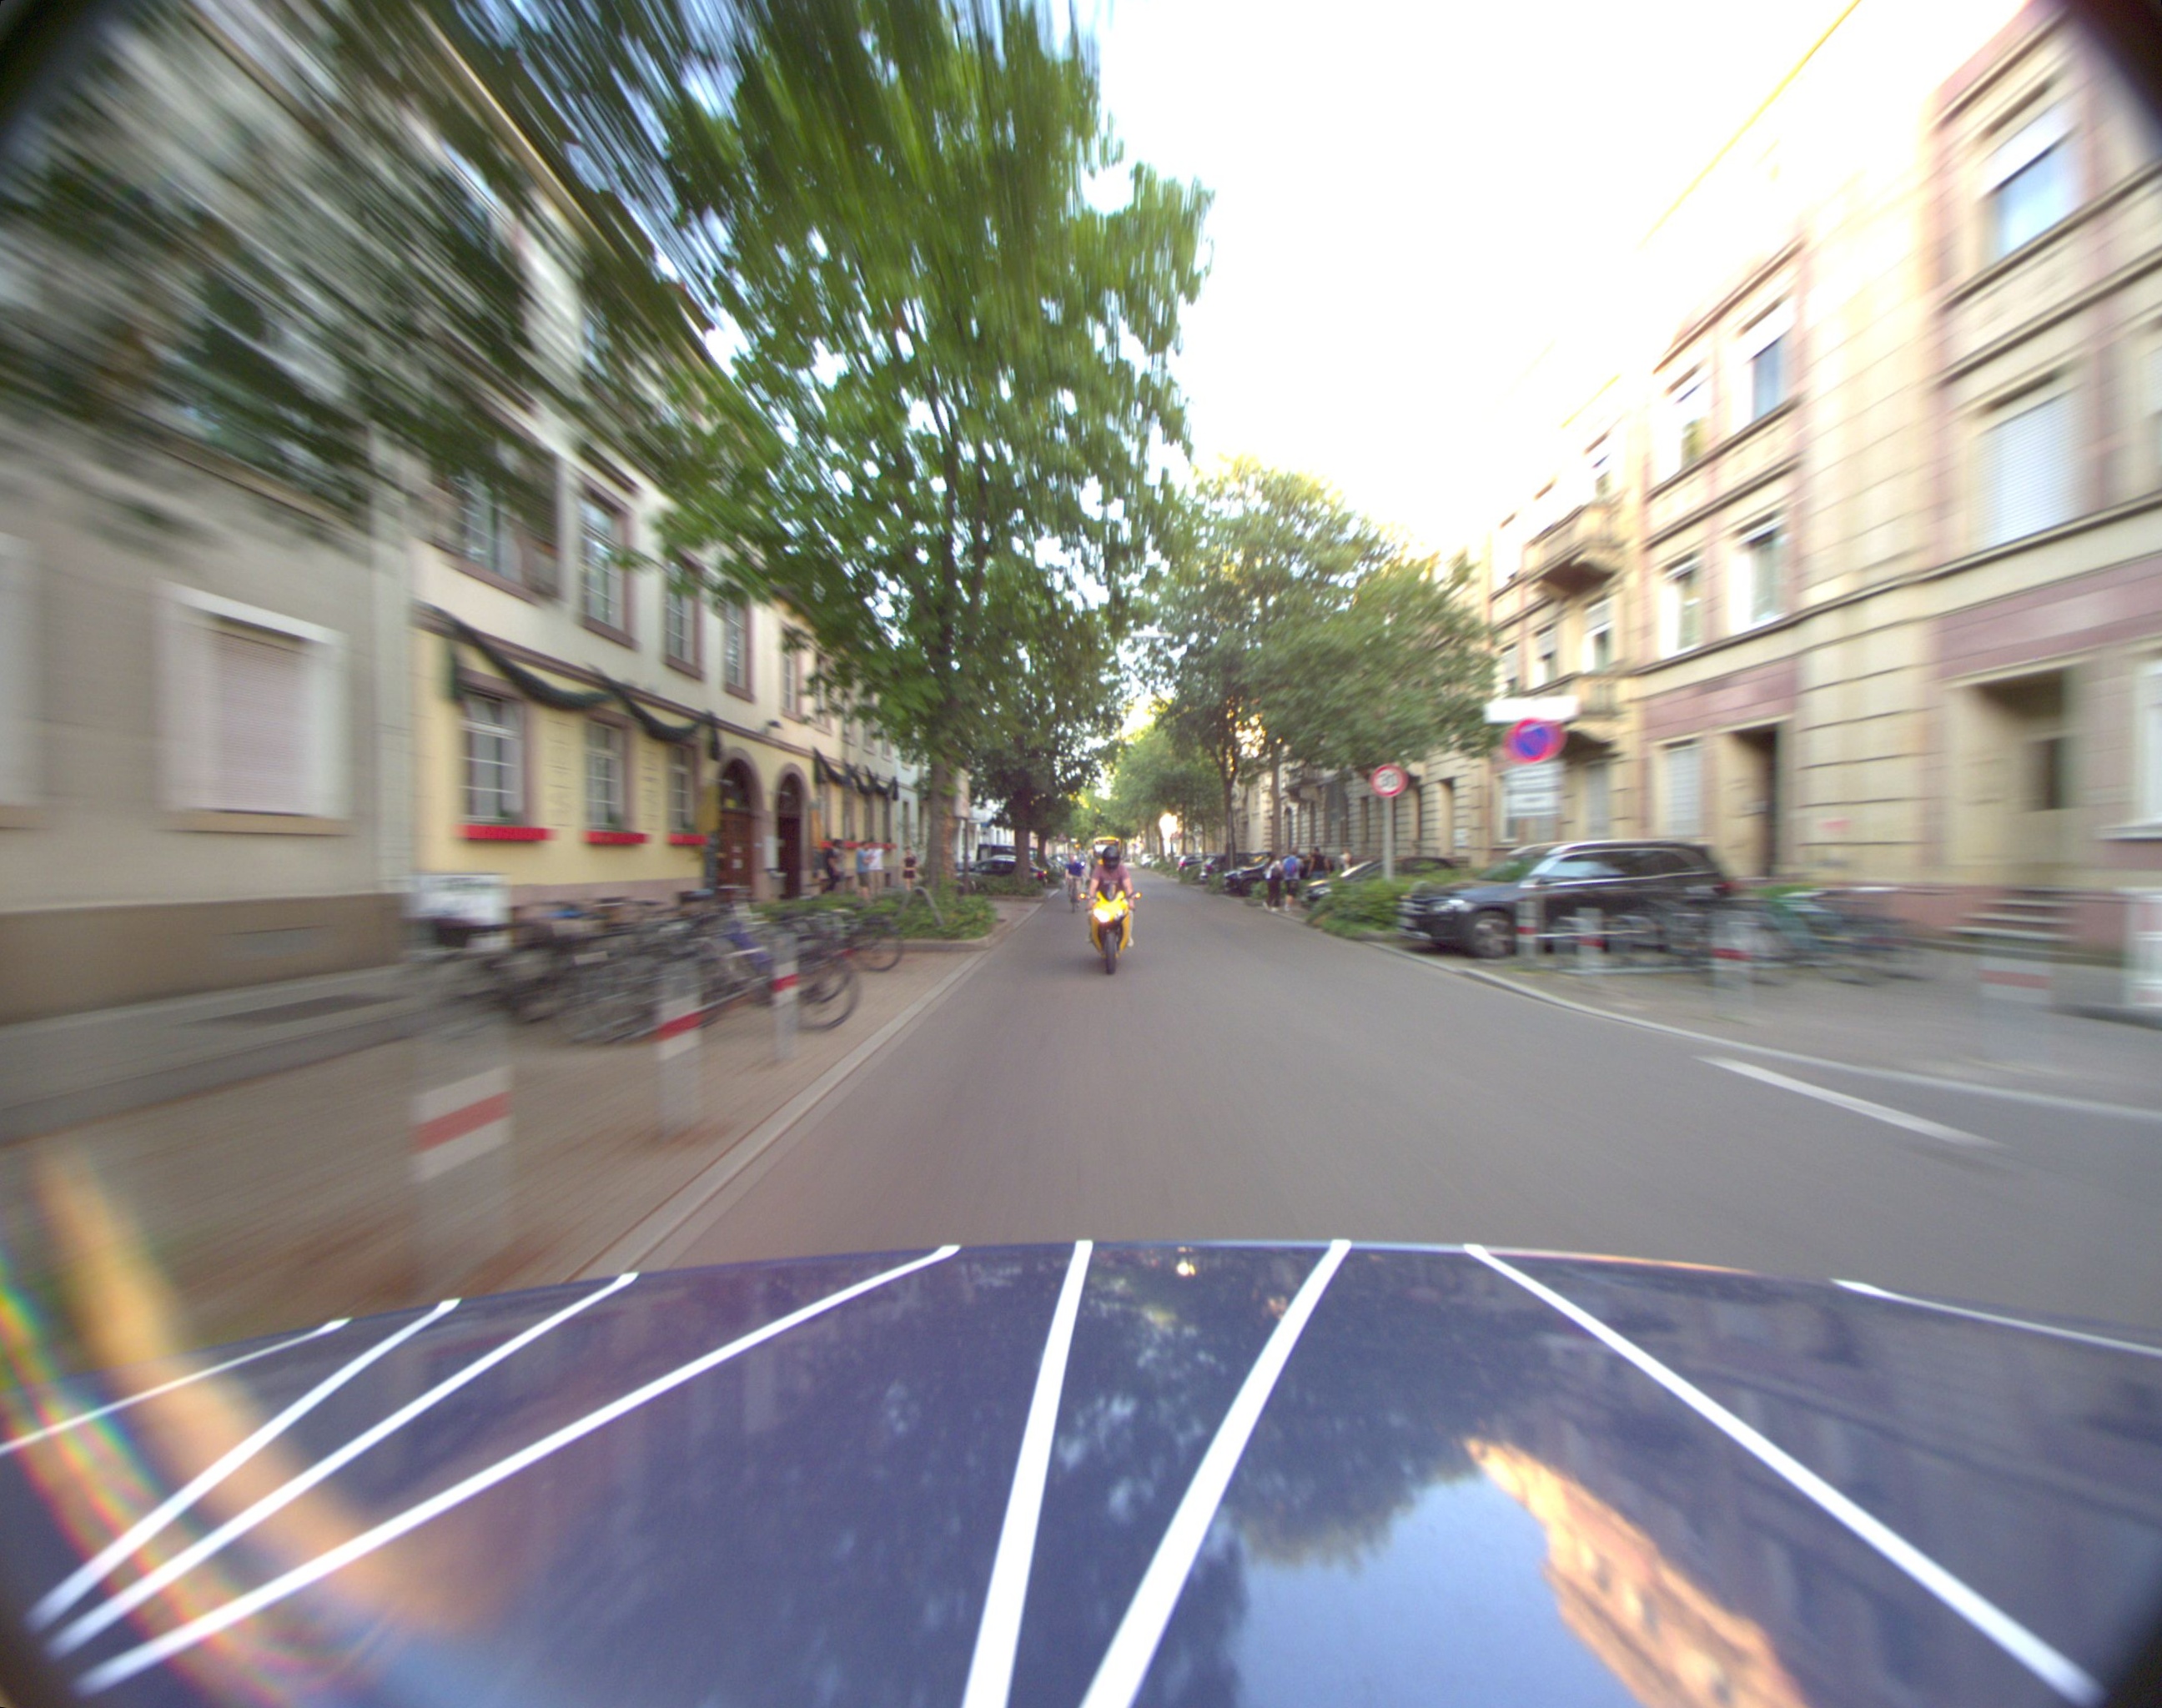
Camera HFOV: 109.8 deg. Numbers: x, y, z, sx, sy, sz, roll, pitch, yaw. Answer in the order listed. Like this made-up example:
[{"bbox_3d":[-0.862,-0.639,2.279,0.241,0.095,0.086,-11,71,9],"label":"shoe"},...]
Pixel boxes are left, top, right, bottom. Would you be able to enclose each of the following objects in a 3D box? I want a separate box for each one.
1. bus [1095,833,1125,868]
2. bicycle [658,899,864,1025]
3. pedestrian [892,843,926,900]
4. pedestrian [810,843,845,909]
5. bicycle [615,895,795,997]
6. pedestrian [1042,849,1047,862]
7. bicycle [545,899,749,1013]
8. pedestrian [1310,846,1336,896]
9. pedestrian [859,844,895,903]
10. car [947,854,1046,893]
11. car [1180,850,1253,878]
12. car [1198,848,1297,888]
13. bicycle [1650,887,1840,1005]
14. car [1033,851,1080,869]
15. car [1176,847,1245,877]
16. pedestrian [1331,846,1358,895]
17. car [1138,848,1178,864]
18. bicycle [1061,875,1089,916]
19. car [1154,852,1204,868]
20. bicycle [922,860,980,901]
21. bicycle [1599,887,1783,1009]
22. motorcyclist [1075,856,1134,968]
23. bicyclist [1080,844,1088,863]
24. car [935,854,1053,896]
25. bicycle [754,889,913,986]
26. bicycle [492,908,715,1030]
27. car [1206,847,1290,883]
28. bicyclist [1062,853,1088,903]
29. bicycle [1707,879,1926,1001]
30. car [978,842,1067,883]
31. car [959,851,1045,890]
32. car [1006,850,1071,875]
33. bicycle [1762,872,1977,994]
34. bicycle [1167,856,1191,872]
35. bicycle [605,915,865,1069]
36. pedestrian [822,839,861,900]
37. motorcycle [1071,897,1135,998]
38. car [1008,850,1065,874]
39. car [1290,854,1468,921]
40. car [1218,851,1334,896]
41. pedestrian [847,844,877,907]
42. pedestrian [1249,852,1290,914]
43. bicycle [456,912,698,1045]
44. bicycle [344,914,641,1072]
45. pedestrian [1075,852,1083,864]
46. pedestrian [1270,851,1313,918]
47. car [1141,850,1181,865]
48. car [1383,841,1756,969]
[{"bbox_3d":[2.791,-0.383,76.818,2.668,3.176,11.898,-2,0,1],"label":"bus"},{"bbox_3d":[-3.203,1.071,7.702,1.834,1.172,0.600,1,1,0],"label":"bicycle"},{"bbox_3d":[-5.335,0.548,23.618,0.707,1.728,0.727,1,0,18],"label":"pedestrian"},{"bbox_3d":[-6.726,0.579,20.191,0.779,1.728,0.683,1,0,-15],"label":"pedestrian"},{"bbox_3d":[-4.421,1.075,9.026,1.799,1.122,0.664,1,1,-4],"label":"bicycle"},{"bbox_3d":[-5.004,0.201,104.573,0.699,1.844,1.049,1,0,-1],"label":"pedestrian"},{"bbox_3d":[-4.630,1.073,8.213,1.800,1.136,0.651,1,1,-7],"label":"bicycle"},{"bbox_3d":[8.630,0.597,27.141,0.736,1.729,0.671,-2,1,8],"label":"pedestrian"},{"bbox_3d":[-6.124,0.576,22.816,0.712,1.728,0.749,1,0,21],"label":"pedestrian"},{"bbox_3d":[-3.560,0.795,32.612,3.997,1.429,1.926,3,1,0],"label":"car"},{"bbox_3d":[7.940,0.599,44.730,3.974,1.379,1.765,-4,0,2],"label":"car"},{"bbox_3d":[7.757,0.657,35.649,4.211,1.662,1.908,-2,0,1],"label":"car"},{"bbox_3d":[7.356,0.964,8.551,0.523,1.013,1.861,-4,2,2],"label":"bicycle"},{"bbox_3d":[-2.235,0.542,69.261,4.119,1.608,1.961,-1,0,2],"label":"car"},{"bbox_3d":[8.175,0.504,48.238,3.975,1.587,1.780,-5,1,1],"label":"car"},{"bbox_3d":[9.497,0.584,27.390,0.736,1.729,0.671,-2,1,8],"label":"pedestrian"},{"bbox_3d":[8.932,0.217,88.573,4.436,1.712,1.890,-3,0,-1],"label":"car"},{"bbox_3d":[-0.142,1.158,21.457,0.674,1.024,1.977,-2,0,2],"label":"bicycle"},{"bbox_3d":[9.080,0.548,70.738,4.523,1.382,1.916,-1,1,2],"label":"car"},{"bbox_3d":[-4.196,0.851,24.666,1.800,1.226,0.673,2,1,-8],"label":"bicycle"},{"bbox_3d":[6.741,0.986,8.535,0.523,1.053,1.861,-4,2,-1],"label":"bicycle"},{"bbox_3d":[0.315,0.739,9.949,0.737,1.404,0.726,0,1,3],"label":"motorcyclist"},{"bbox_3d":[0.260,-0.059,65.379,0.637,1.552,0.818,-3,0,-1],"label":"bicyclist"},{"bbox_3d":[-3.380,0.816,30.123,4.412,1.386,1.885,3,1,-1],"label":"car"},{"bbox_3d":[-3.193,1.065,9.906,1.834,1.172,0.673,1,1,0],"label":"bicycle"},{"bbox_3d":[-4.580,1.092,7.360,1.799,1.101,0.500,1,1,-4],"label":"bicycle"},{"bbox_3d":[8.346,0.550,38.207,3.810,1.662,1.714,-2,0,0],"label":"car"},{"bbox_3d":[-0.160,0.664,21.464,0.674,1.355,0.776,-2,0,2],"label":"bicyclist"},{"bbox_3d":[8.101,0.894,8.506,0.670,1.057,1.861,-4,2,2],"label":"bicycle"},{"bbox_3d":[-3.219,0.464,42.651,4.701,1.999,2.037,3,1,1],"label":"car"},{"bbox_3d":[-3.615,0.737,35.242,3.689,1.569,1.714,3,1,2],"label":"car"},{"bbox_3d":[-3.052,0.625,55.561,4.602,1.569,1.944,3,1,0],"label":"car"},{"bbox_3d":[8.776,0.822,8.580,0.518,1.101,1.861,-4,2,2],"label":"bicycle"},{"bbox_3d":[7.685,0.772,59.561,1.774,1.225,0.500,-1,2,6],"label":"bicycle"},{"bbox_3d":[-2.812,1.104,6.364,1.843,1.129,0.744,1,1,-9],"label":"bicycle"},{"bbox_3d":[-6.953,0.456,22.060,0.725,1.728,0.746,1,0,28],"label":"pedestrian"},{"bbox_3d":[0.306,1.147,9.839,0.737,1.053,1.964,0,1,3],"label":"motorcycle"},{"bbox_3d":[-3.052,0.533,52.776,3.802,1.415,1.697,3,1,0],"label":"car"},{"bbox_3d":[7.358,0.808,19.043,3.701,1.450,1.873,-2,0,1],"label":"car"},{"bbox_3d":[7.349,0.726,28.939,3.954,1.523,1.908,-2,1,3],"label":"car"},{"bbox_3d":[-6.097,0.595,21.173,0.616,1.728,0.623,1,0,1],"label":"pedestrian"},{"bbox_3d":[5.210,0.782,21.037,0.795,1.661,0.833,1,1,41],"label":"pedestrian"},{"bbox_3d":[-4.489,1.096,6.838,1.799,1.101,0.500,1,1,-4],"label":"bicycle"},{"bbox_3d":[-4.681,1.079,6.157,1.800,1.136,0.668,1,1,-8],"label":"bicycle"},{"bbox_3d":[-0.247,0.474,93.796,0.600,1.502,0.719,1,1,-27],"label":"pedestrian"},{"bbox_3d":[5.577,0.775,20.129,0.795,1.727,0.833,1,1,41],"label":"pedestrian"},{"bbox_3d":[8.517,0.355,81.069,4.179,1.548,1.827,-1,1,4],"label":"car"},{"bbox_3d":[7.233,0.735,11.637,4.436,1.641,1.873,-2,0,2],"label":"car"}]
